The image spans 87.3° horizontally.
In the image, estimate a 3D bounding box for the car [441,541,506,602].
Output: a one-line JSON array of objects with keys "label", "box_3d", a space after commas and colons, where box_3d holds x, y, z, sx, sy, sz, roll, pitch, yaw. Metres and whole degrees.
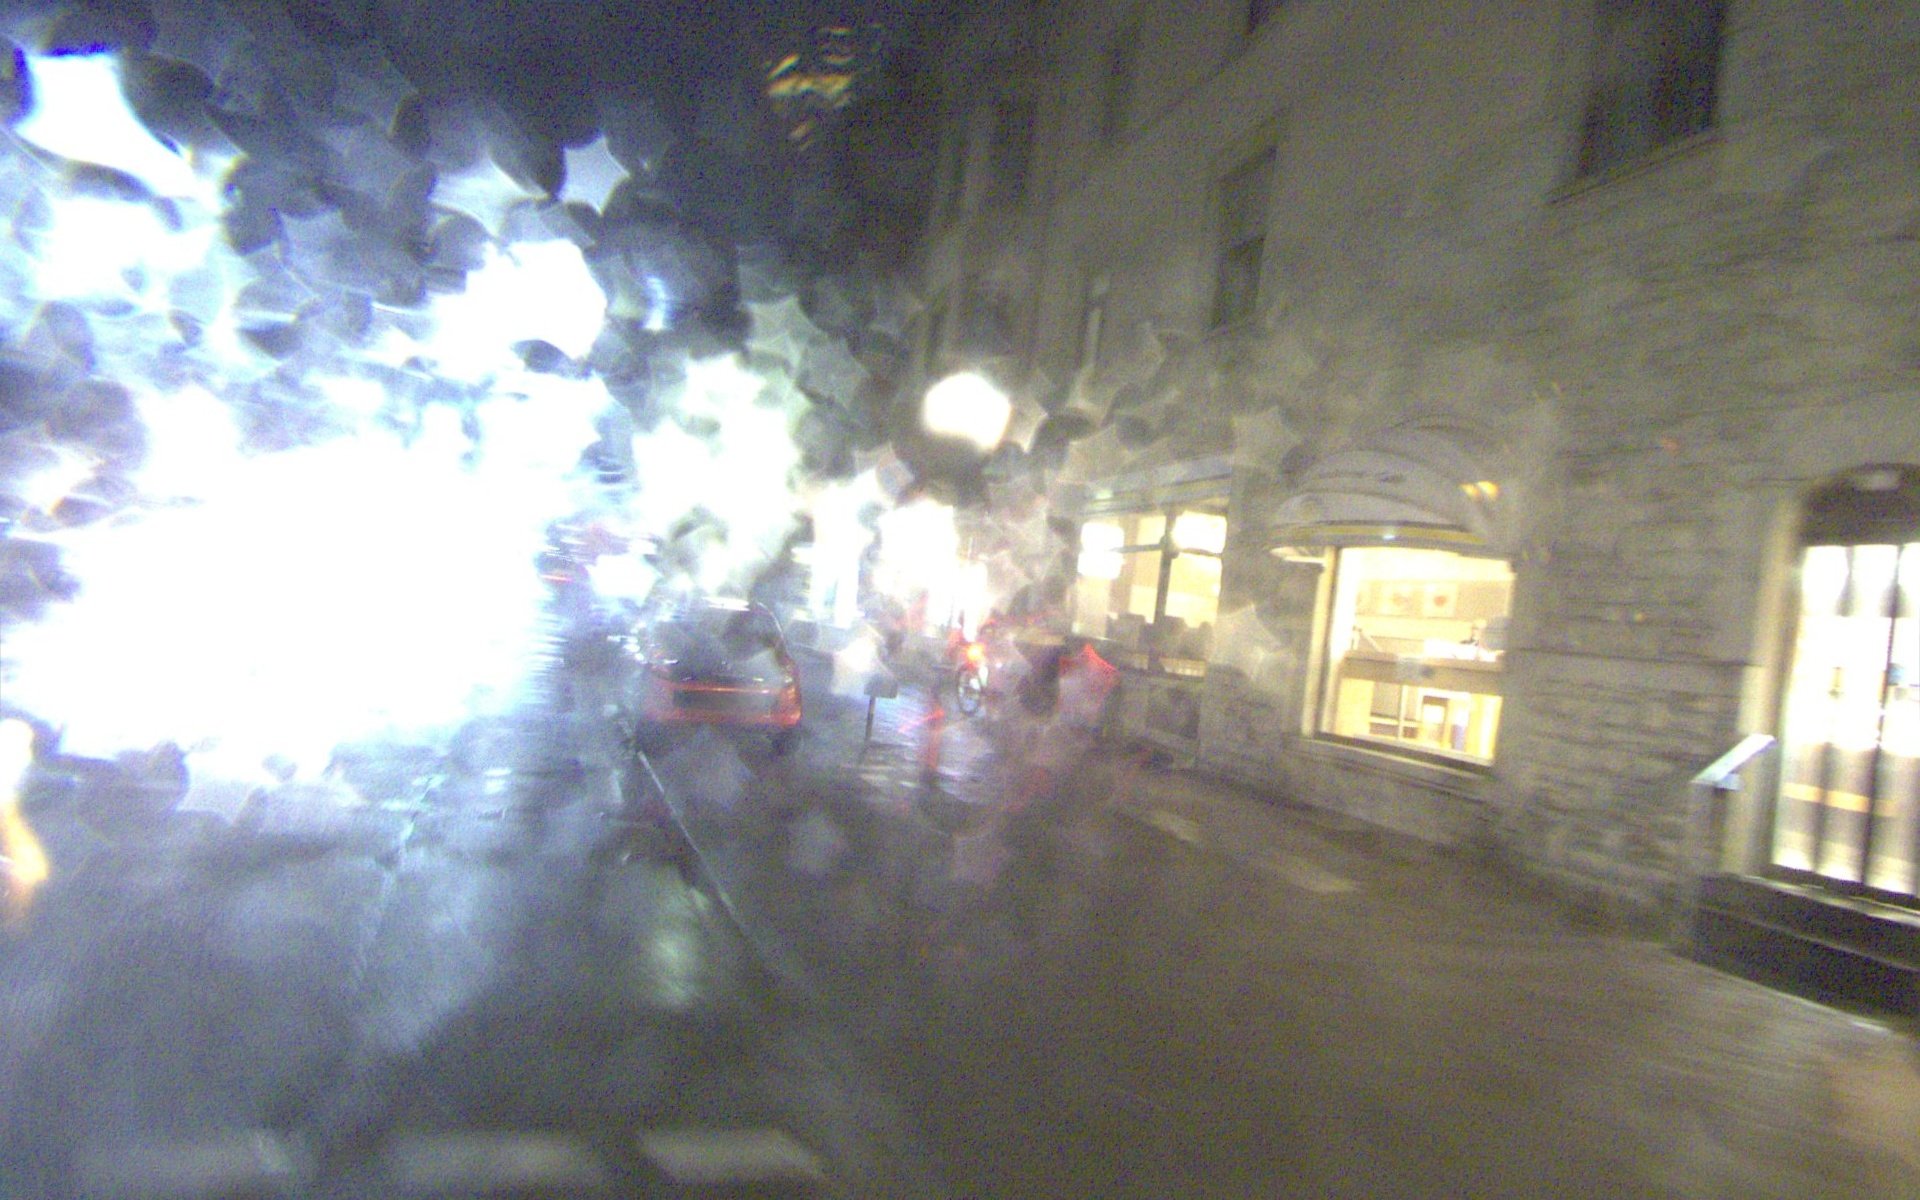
[{"label": "car", "box_3d": [-23.433, -1.344, 48.633, 2.195, 2.469, 5.358, 9, -2, -22]}]

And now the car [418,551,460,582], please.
[{"label": "car", "box_3d": [-36.880, -2.374, 71.273, 1.904, 1.903, 4.617, 6, -1, -20]}]

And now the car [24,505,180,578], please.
[{"label": "car", "box_3d": [-27.943, -1.849, 33.016, 1.975, 1.845, 5.283, 11, -2, -21]}]

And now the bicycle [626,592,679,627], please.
[{"label": "bicycle", "box_3d": [-11.545, 0.356, 37.825, 1.794, 1.178, 0.490, 5, -1, -23]}]

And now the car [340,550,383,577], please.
[{"label": "car", "box_3d": [-41.578, -2.503, 69.977, 1.651, 1.401, 3.986, 10, -3, -19]}]

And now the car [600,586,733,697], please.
[{"label": "car", "box_3d": [-4.786, 0.576, 16.033, 1.626, 1.460, 4.037, 4, 0, -21]}]

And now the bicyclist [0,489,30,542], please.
[{"label": "bicyclist", "box_3d": [-29.090, -2.592, 30.604, 0.647, 1.481, 0.865, 10, -2, -18]}]

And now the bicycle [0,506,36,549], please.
[{"label": "bicycle", "box_3d": [-29.140, -2.250, 30.591, 0.647, 1.153, 1.892, 10, -3, -17]}]

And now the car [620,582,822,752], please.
[{"label": "car", "box_3d": [-2.789, 0.634, 11.173, 1.629, 1.544, 3.564, 4, 0, -21]}]

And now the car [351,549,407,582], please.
[{"label": "car", "box_3d": [-30.862, -1.808, 53.509, 1.773, 1.482, 3.884, 8, -1, -20]}]

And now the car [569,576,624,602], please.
[{"label": "car", "box_3d": [-29.032, -0.849, 80.468, 1.739, 1.474, 3.791, 8, -3, 27]}]

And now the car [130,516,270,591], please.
[{"label": "car", "box_3d": [-23.245, -1.329, 30.994, 1.873, 1.891, 4.521, 6, -2, -17]}]
